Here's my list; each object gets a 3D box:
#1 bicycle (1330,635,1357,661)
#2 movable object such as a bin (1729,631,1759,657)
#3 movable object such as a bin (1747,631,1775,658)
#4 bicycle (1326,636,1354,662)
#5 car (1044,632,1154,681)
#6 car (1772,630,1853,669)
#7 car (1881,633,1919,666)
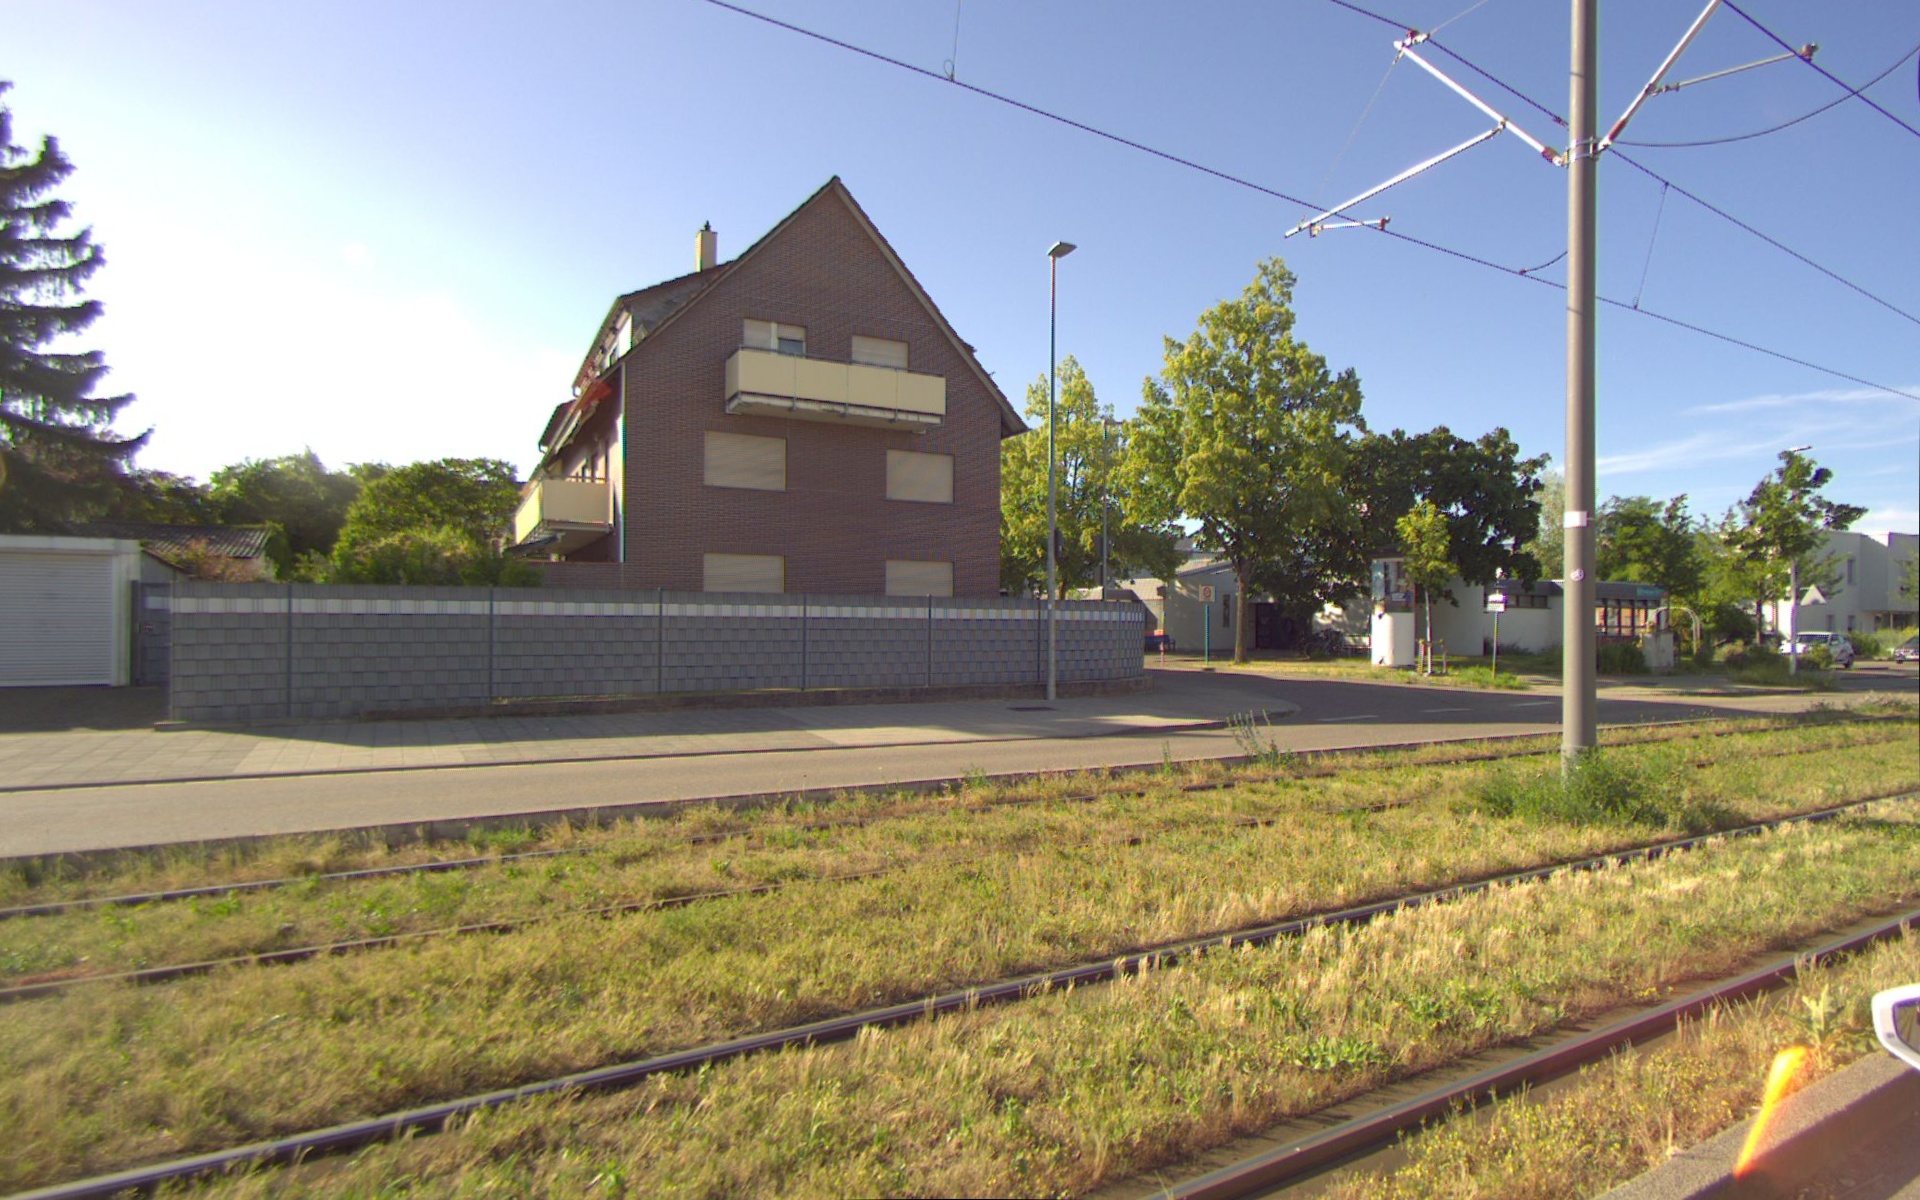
[{"bbox_3d":[16.289,2.042,42.679,1.025,1.073,0.303,-1,-2,43],"label":"bicycle"},{"bbox_3d":[43.323,2.447,55.492,1.401,1.401,0.663,2,0,-23],"label":"movable object such as a bin"},{"bbox_3d":[44.773,2.499,56.134,1.237,1.453,0.663,1,0,-23],"label":"movable object such as a bin"},{"bbox_3d":[16.017,2.058,42.355,1.042,1.097,0.303,-1,-2,43],"label":"bicycle"},{"bbox_3d":[4.743,1.907,34.666,1.817,1.449,3.843,-1,0,-29],"label":"car"},{"bbox_3d":[35.747,2.079,42.105,3.733,1.511,1.536,2,0,-32],"label":"car"},{"bbox_3d":[46.997,2.403,48.877,4.261,1.480,1.804,2,0,-26],"label":"car"}]
